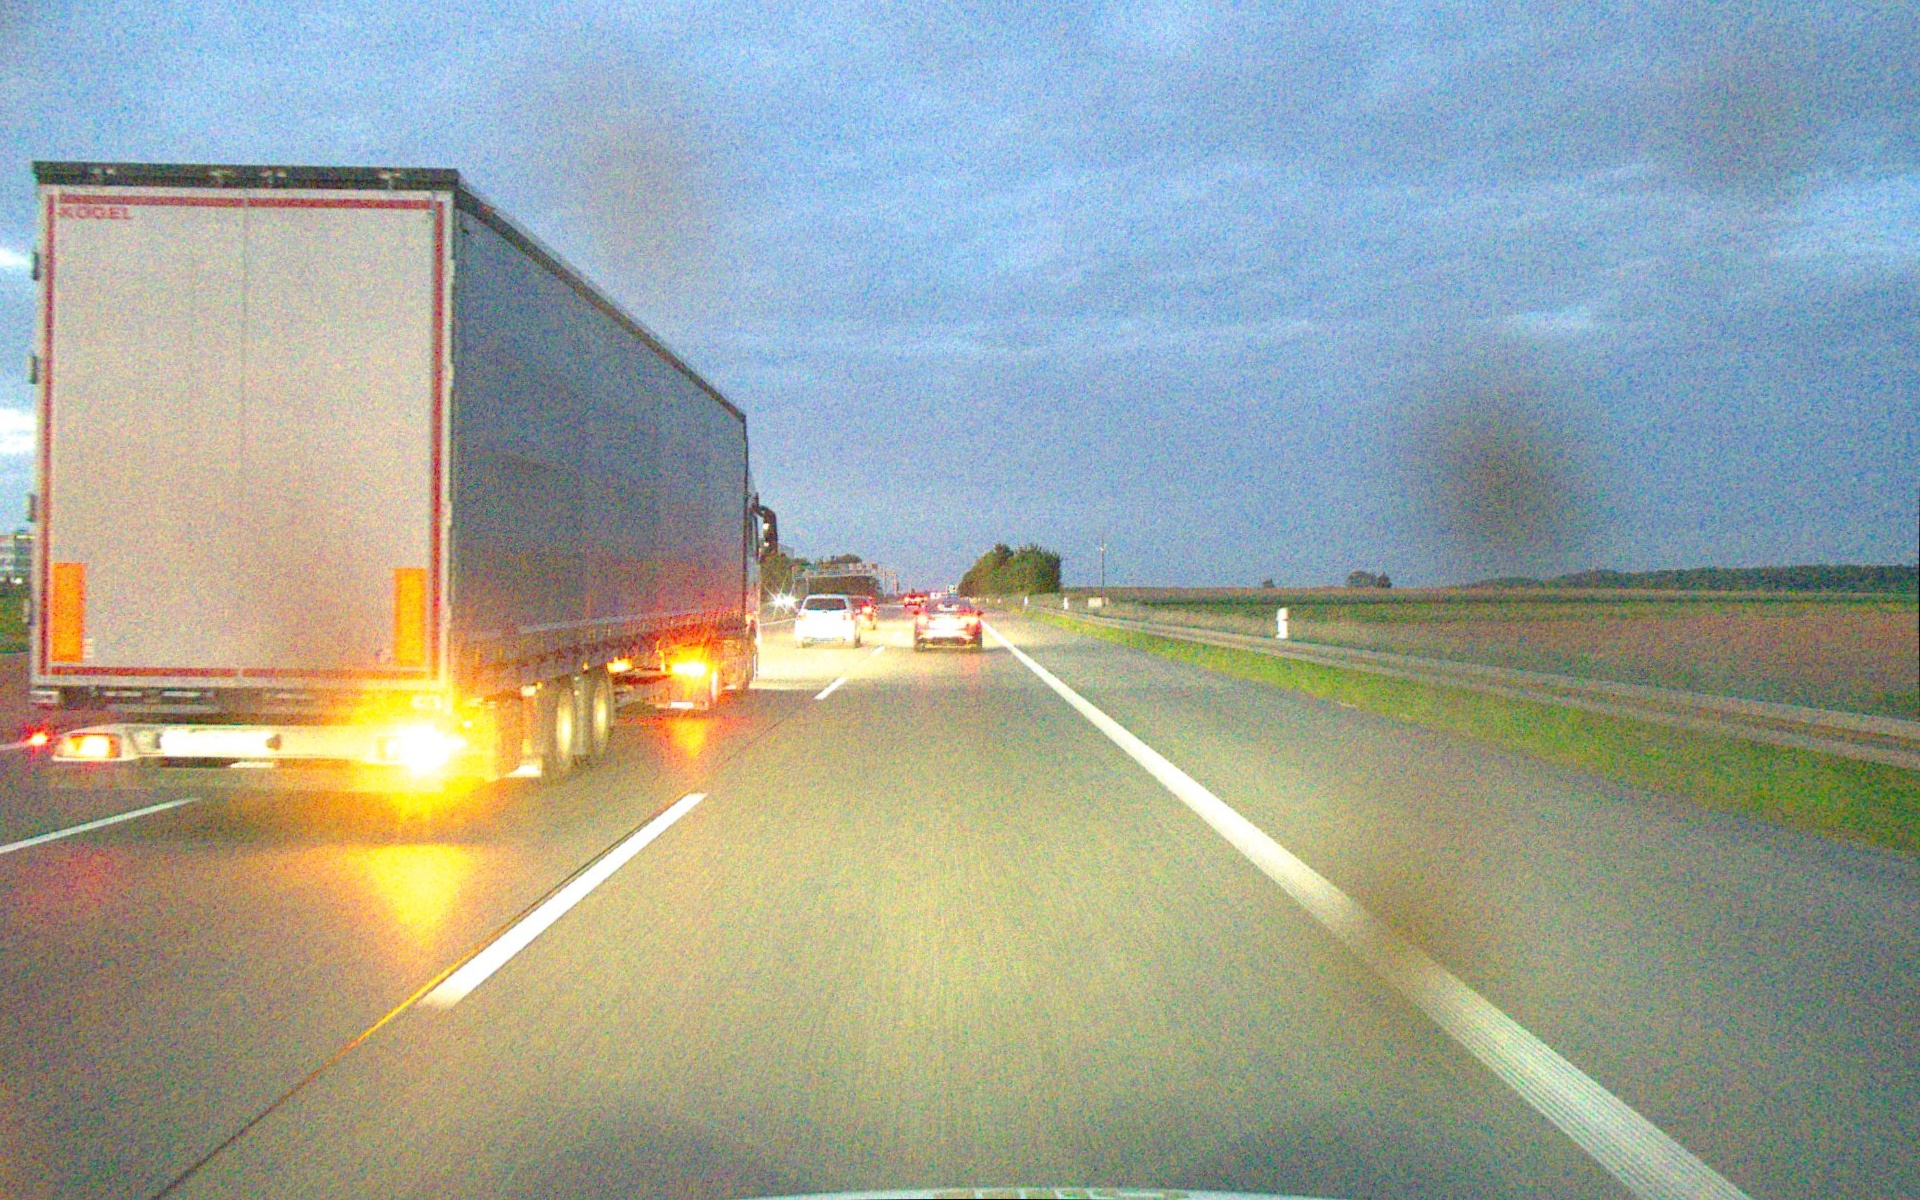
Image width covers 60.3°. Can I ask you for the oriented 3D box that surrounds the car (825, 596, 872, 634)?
[{"bbox_3d":[-4.612,0.623,69.160,1.688,1.497,4.725,1,0,-1],"label":"car"}]

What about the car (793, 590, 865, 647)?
[{"bbox_3d":[-3.743,0.526,47.976,1.708,1.551,4.414,1,0,0],"label":"car"}]

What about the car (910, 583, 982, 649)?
[{"bbox_3d":[-0.379,0.427,45.092,1.842,1.672,3.999,1,0,-1],"label":"car"}]

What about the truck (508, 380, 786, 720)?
[{"bbox_3d":[-4.166,-0.602,23.377,2.720,4.164,6.103,0,0,0],"label":"truck"}]

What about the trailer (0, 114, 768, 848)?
[{"bbox_3d":[-4.208,-0.644,16.666,2.736,4.157,14.525,0,0,0],"label":"trailer"}]

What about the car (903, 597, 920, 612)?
[{"bbox_3d":[-5.254,0.443,179.258,1.842,1.579,3.999,1,0,-1],"label":"car"}]

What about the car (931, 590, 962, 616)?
[{"bbox_3d":[-0.876,0.169,104.418,1.842,1.579,3.999,1,0,-1],"label":"car"}]
